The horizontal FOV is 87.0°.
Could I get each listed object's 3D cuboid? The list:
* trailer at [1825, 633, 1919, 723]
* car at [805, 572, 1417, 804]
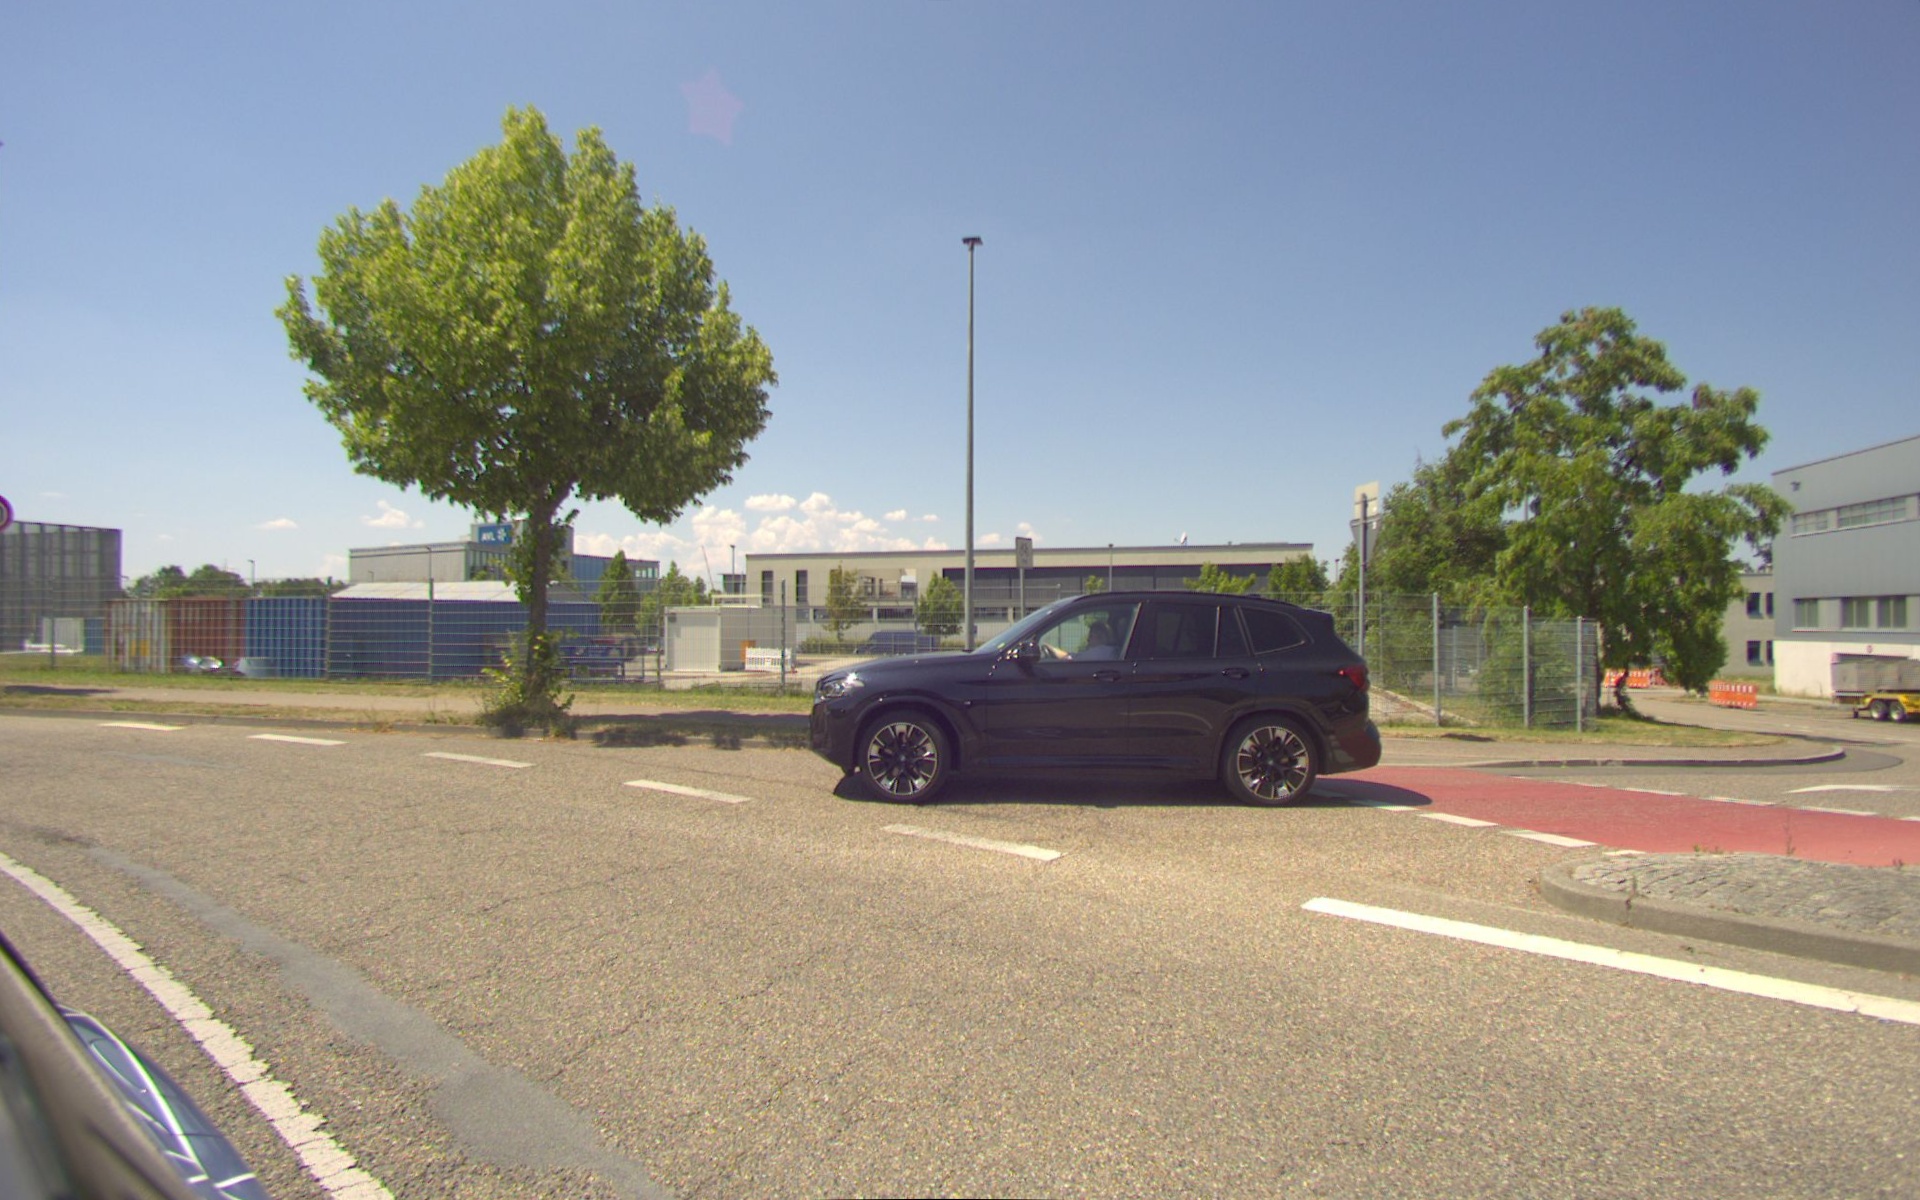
[{"bbox_3d":[32.377,2.558,33.811,2.635,2.879,5.502,-2,-4,9],"label":"trailer"},{"bbox_3d":[1.127,0.713,8.511,4.536,1.647,1.869,1,-4,1],"label":"car"}]
